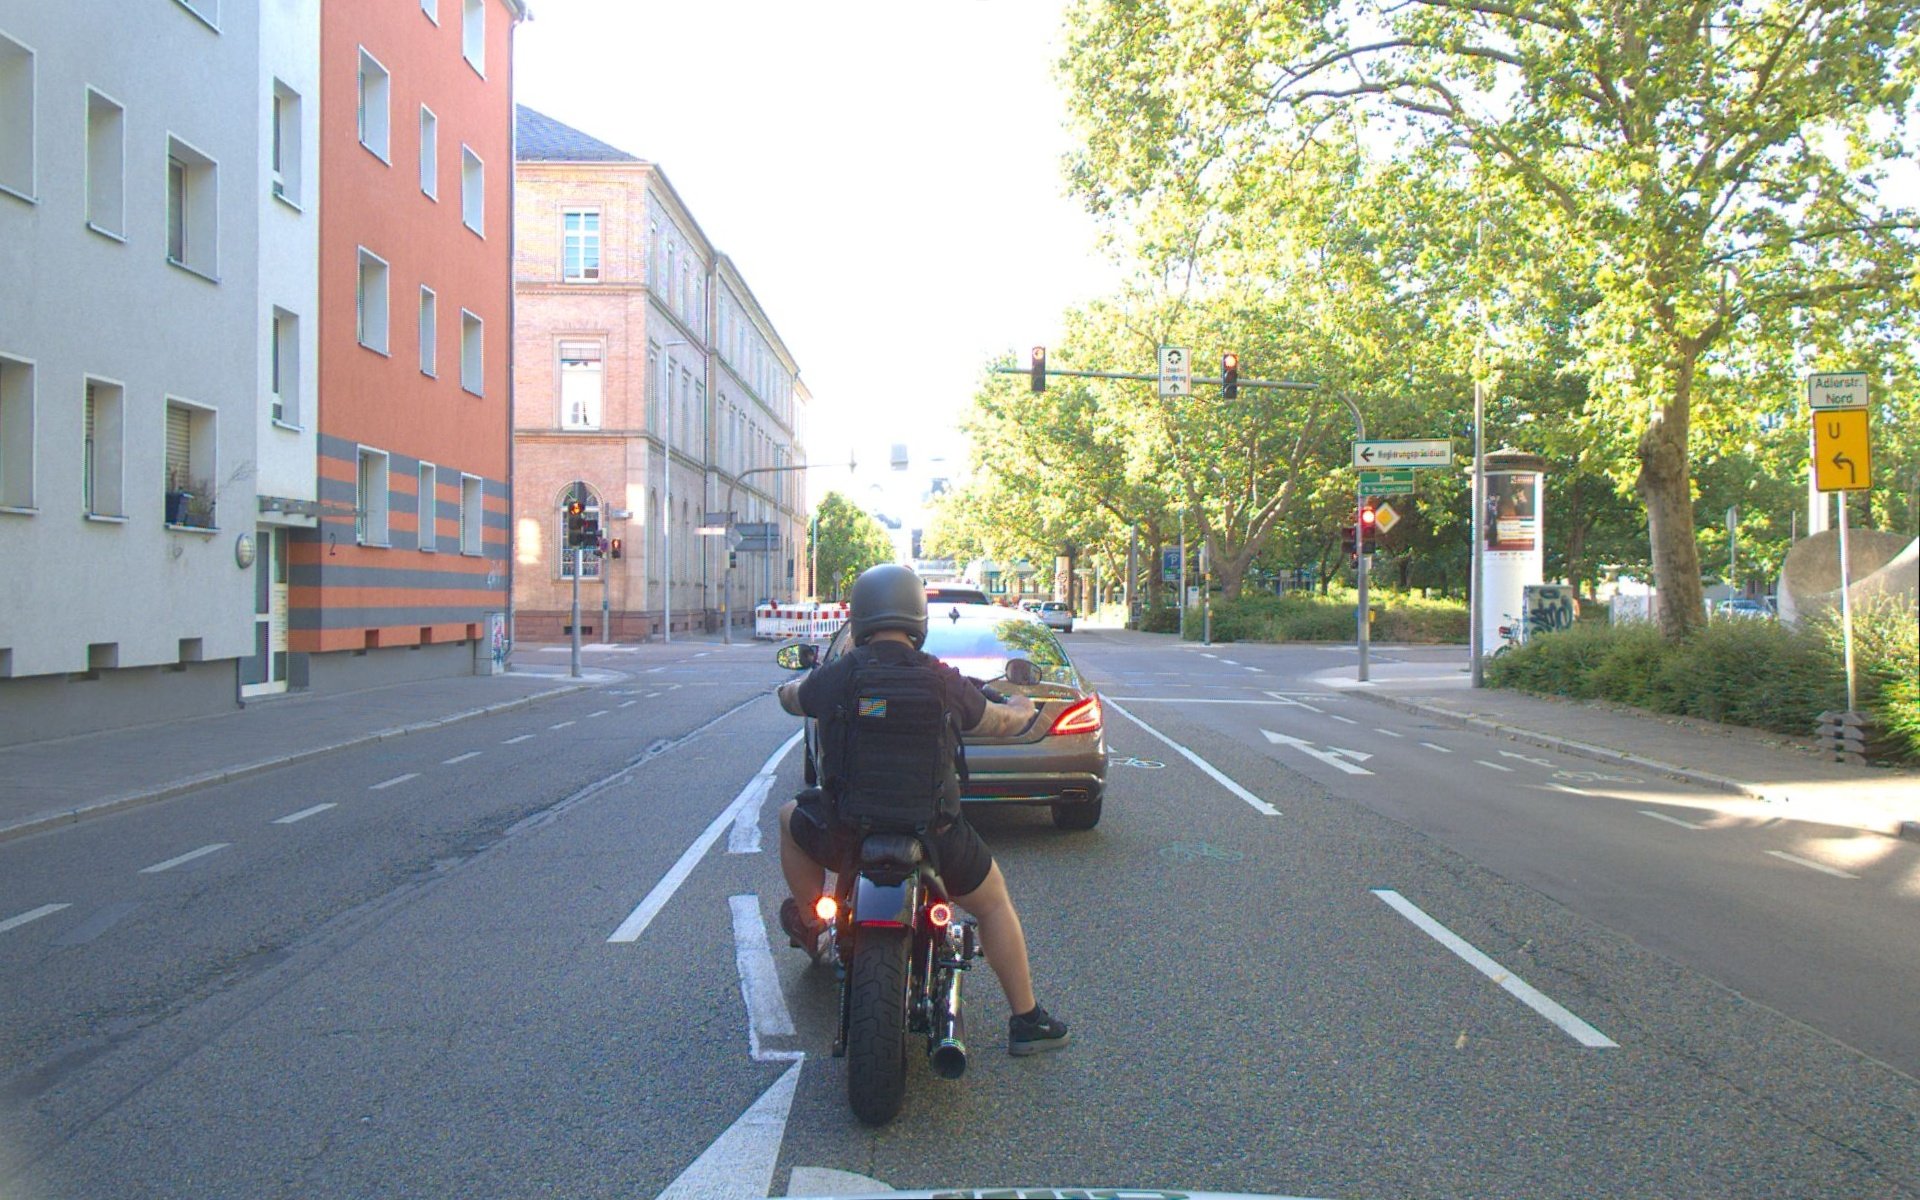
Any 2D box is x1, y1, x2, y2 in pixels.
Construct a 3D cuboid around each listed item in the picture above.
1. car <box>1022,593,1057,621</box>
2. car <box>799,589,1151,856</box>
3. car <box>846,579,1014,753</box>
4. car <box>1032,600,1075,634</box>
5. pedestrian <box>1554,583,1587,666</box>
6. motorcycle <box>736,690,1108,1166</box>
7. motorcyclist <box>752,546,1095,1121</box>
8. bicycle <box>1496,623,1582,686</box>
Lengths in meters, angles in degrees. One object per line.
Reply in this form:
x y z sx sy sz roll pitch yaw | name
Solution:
4.539 0.397 94.911 1.817 1.512 3.908 1 0 1 | car
-0.112 0.680 11.590 1.909 1.498 4.355 0 0 -7 | car
-0.334 0.615 17.753 1.580 1.636 4.327 0 0 -2 | car
4.363 0.763 77.664 1.784 1.506 3.908 -1 0 0 | car
13.957 0.550 37.833 0.540 1.881 0.593 0 0 0 | pedestrian
-0.116 0.922 5.550 0.969 1.097 2.451 0 0 -1 | motorcycle
-0.111 0.659 5.395 0.969 1.625 1.403 0 0 -1 | motorcyclist
9.725 0.918 27.793 1.324 1.041 0.363 0 0 0 | bicycle
